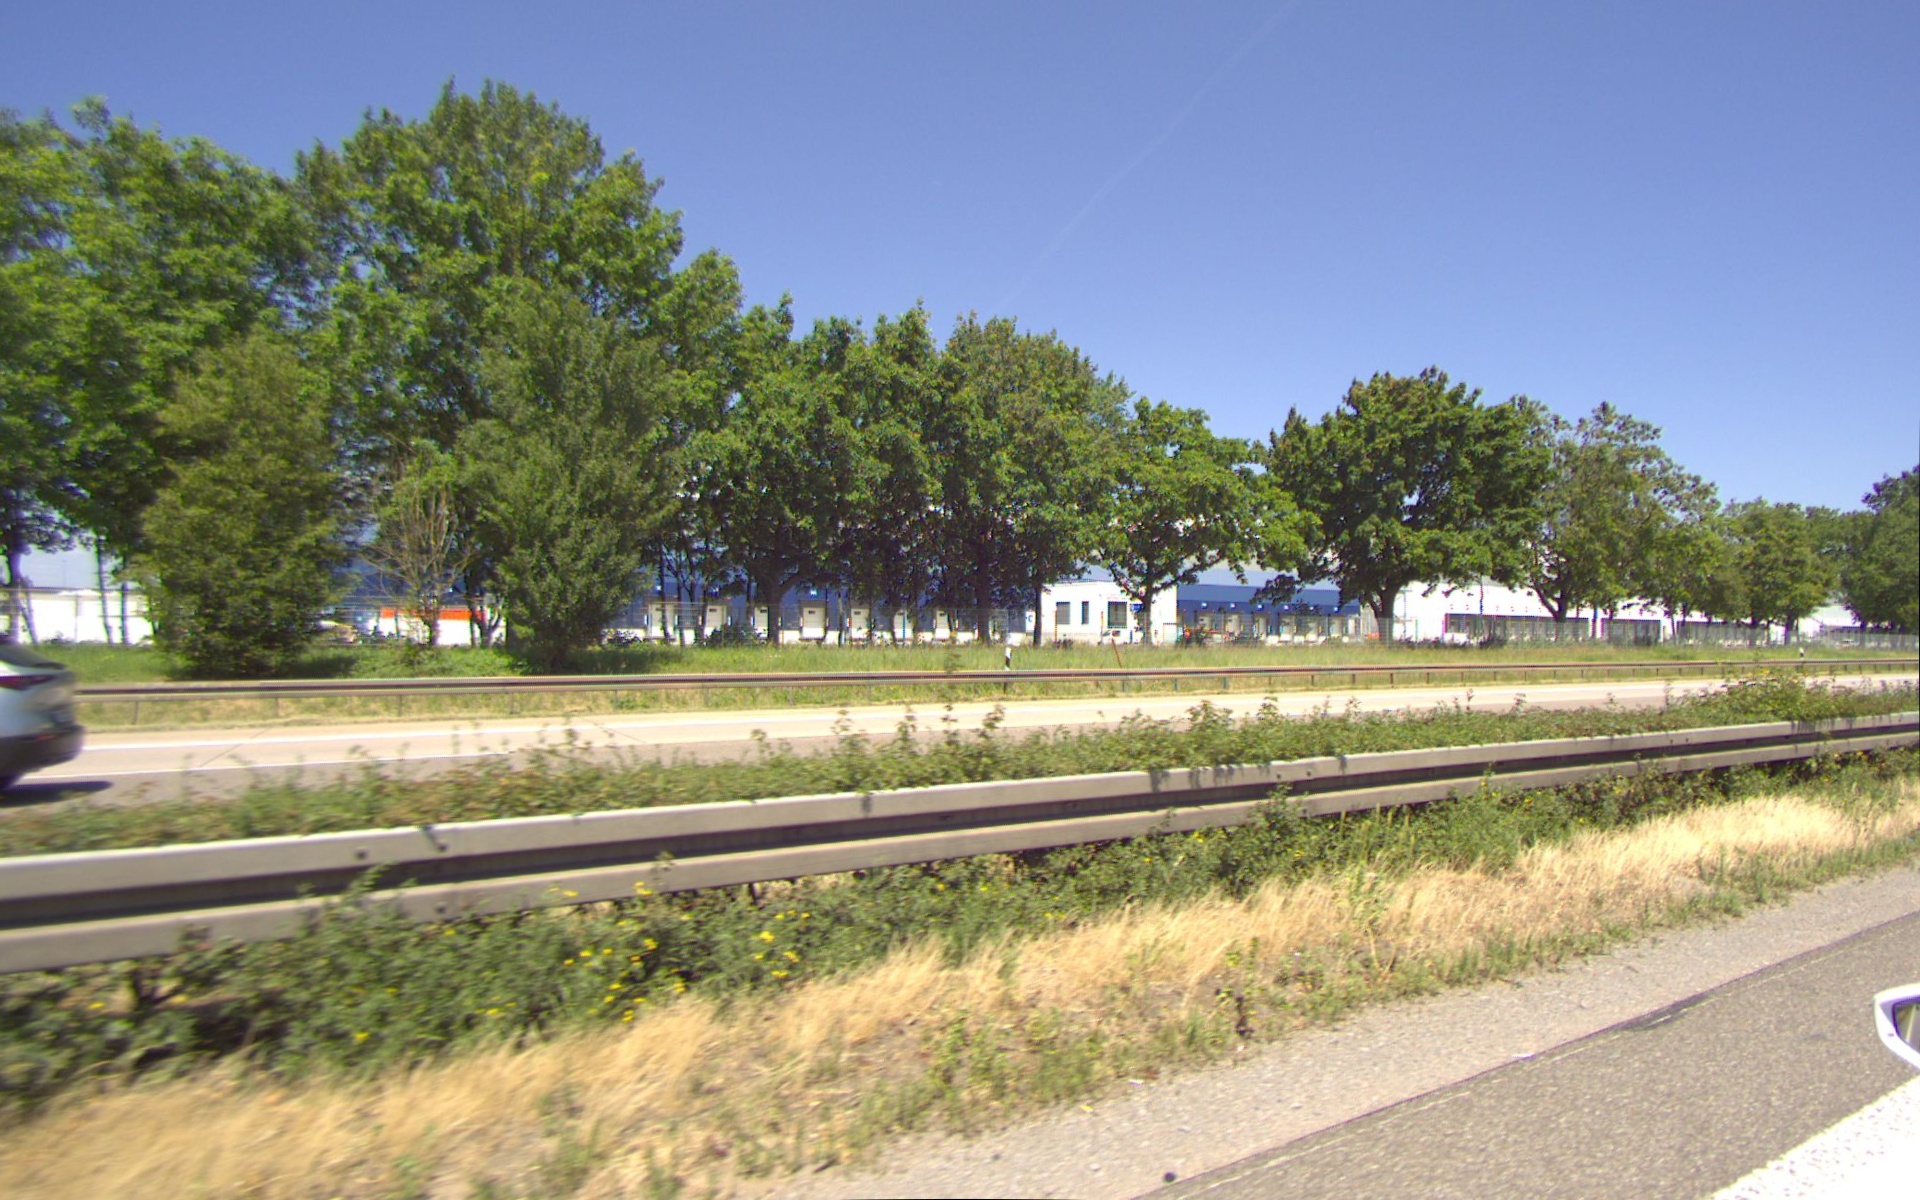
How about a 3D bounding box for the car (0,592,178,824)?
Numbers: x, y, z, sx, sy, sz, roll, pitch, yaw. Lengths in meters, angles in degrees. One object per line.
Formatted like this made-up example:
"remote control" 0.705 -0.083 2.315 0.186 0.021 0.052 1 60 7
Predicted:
"car" -9.295 0.832 8.165 4.372 1.818 1.863 2 1 -30
